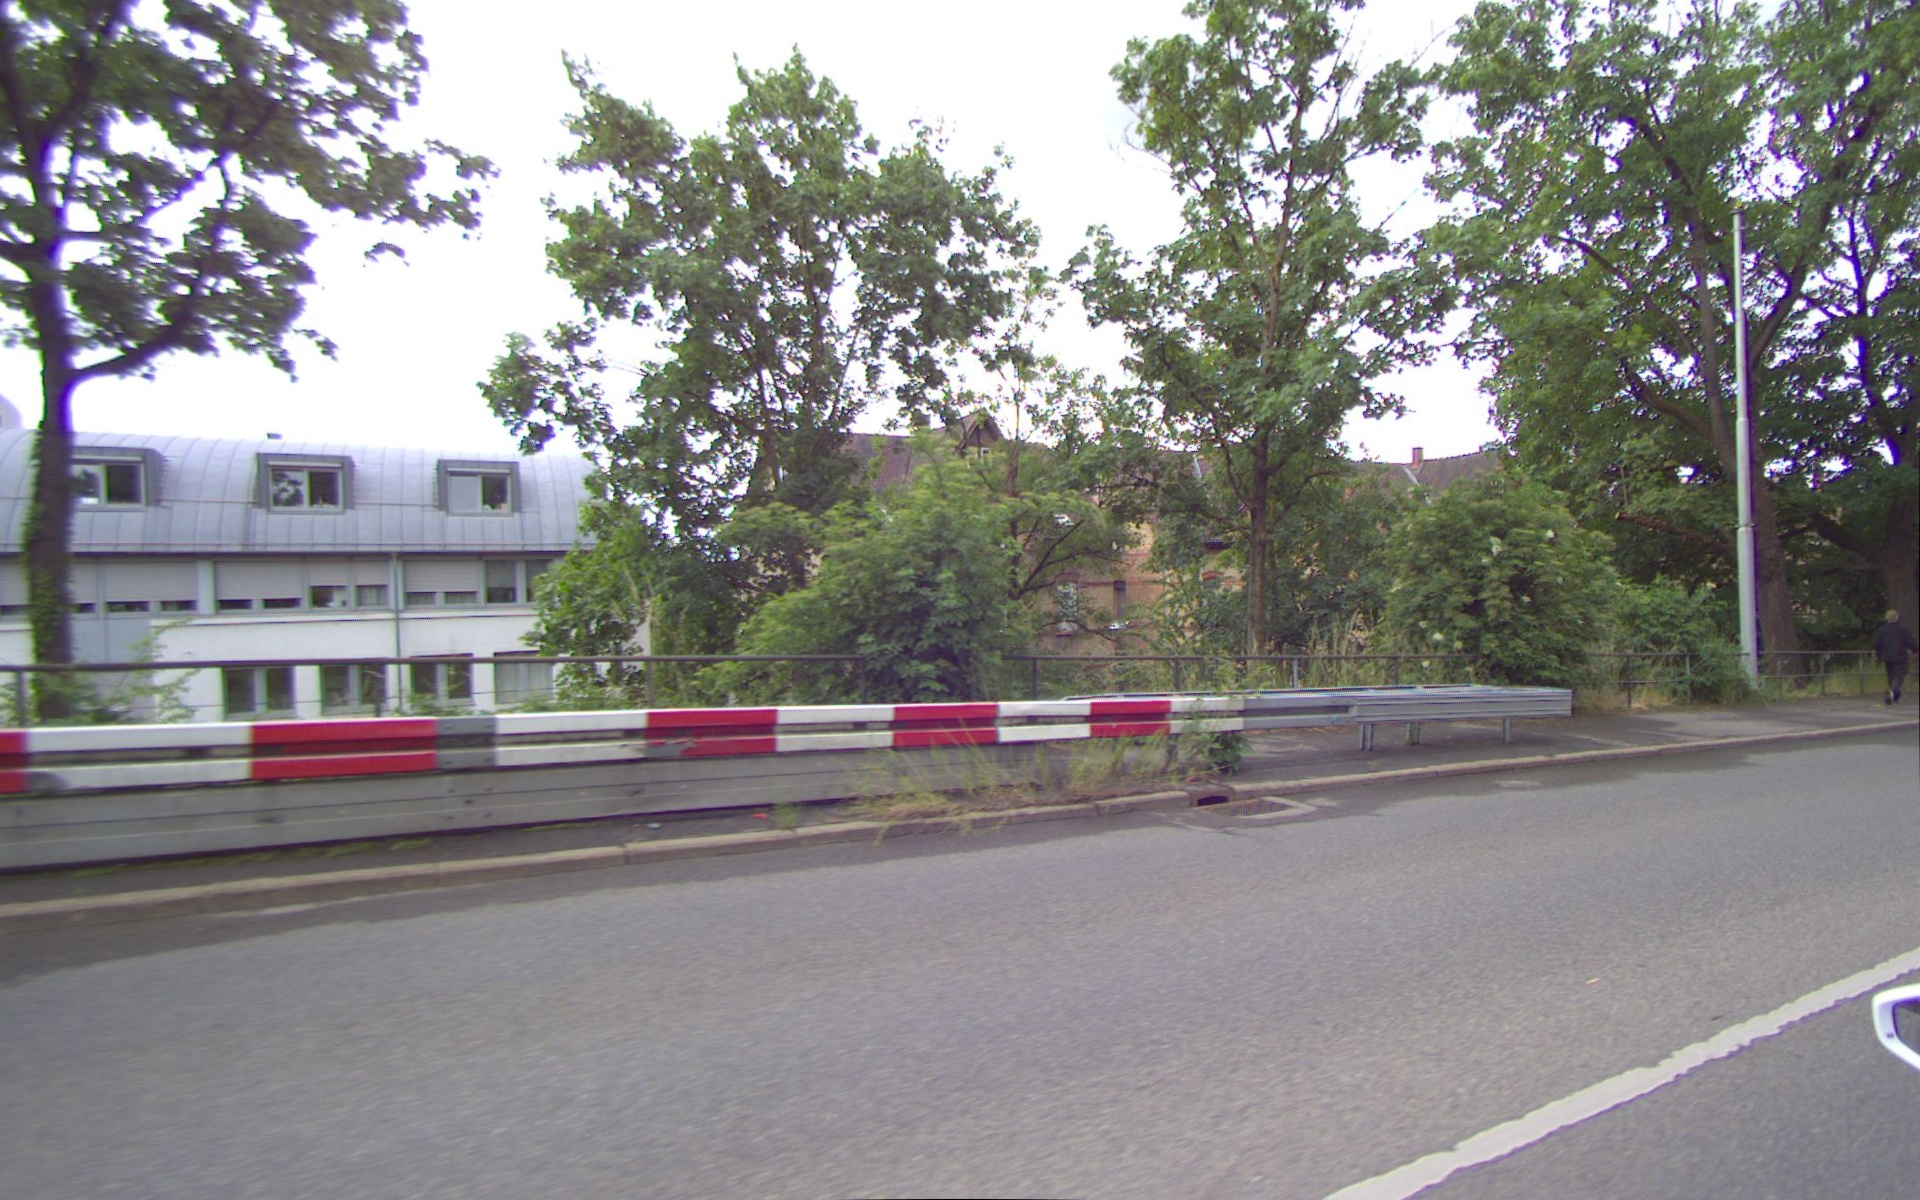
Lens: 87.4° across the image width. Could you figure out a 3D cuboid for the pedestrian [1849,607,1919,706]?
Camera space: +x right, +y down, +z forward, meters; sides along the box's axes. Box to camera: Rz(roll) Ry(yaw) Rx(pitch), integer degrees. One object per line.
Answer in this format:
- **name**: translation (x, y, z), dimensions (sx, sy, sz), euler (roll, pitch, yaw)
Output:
- **pedestrian**: translation (17.886, 1.062, 19.329), dimensions (1.196, 1.798, 0.784), euler (1, 2, -33)
